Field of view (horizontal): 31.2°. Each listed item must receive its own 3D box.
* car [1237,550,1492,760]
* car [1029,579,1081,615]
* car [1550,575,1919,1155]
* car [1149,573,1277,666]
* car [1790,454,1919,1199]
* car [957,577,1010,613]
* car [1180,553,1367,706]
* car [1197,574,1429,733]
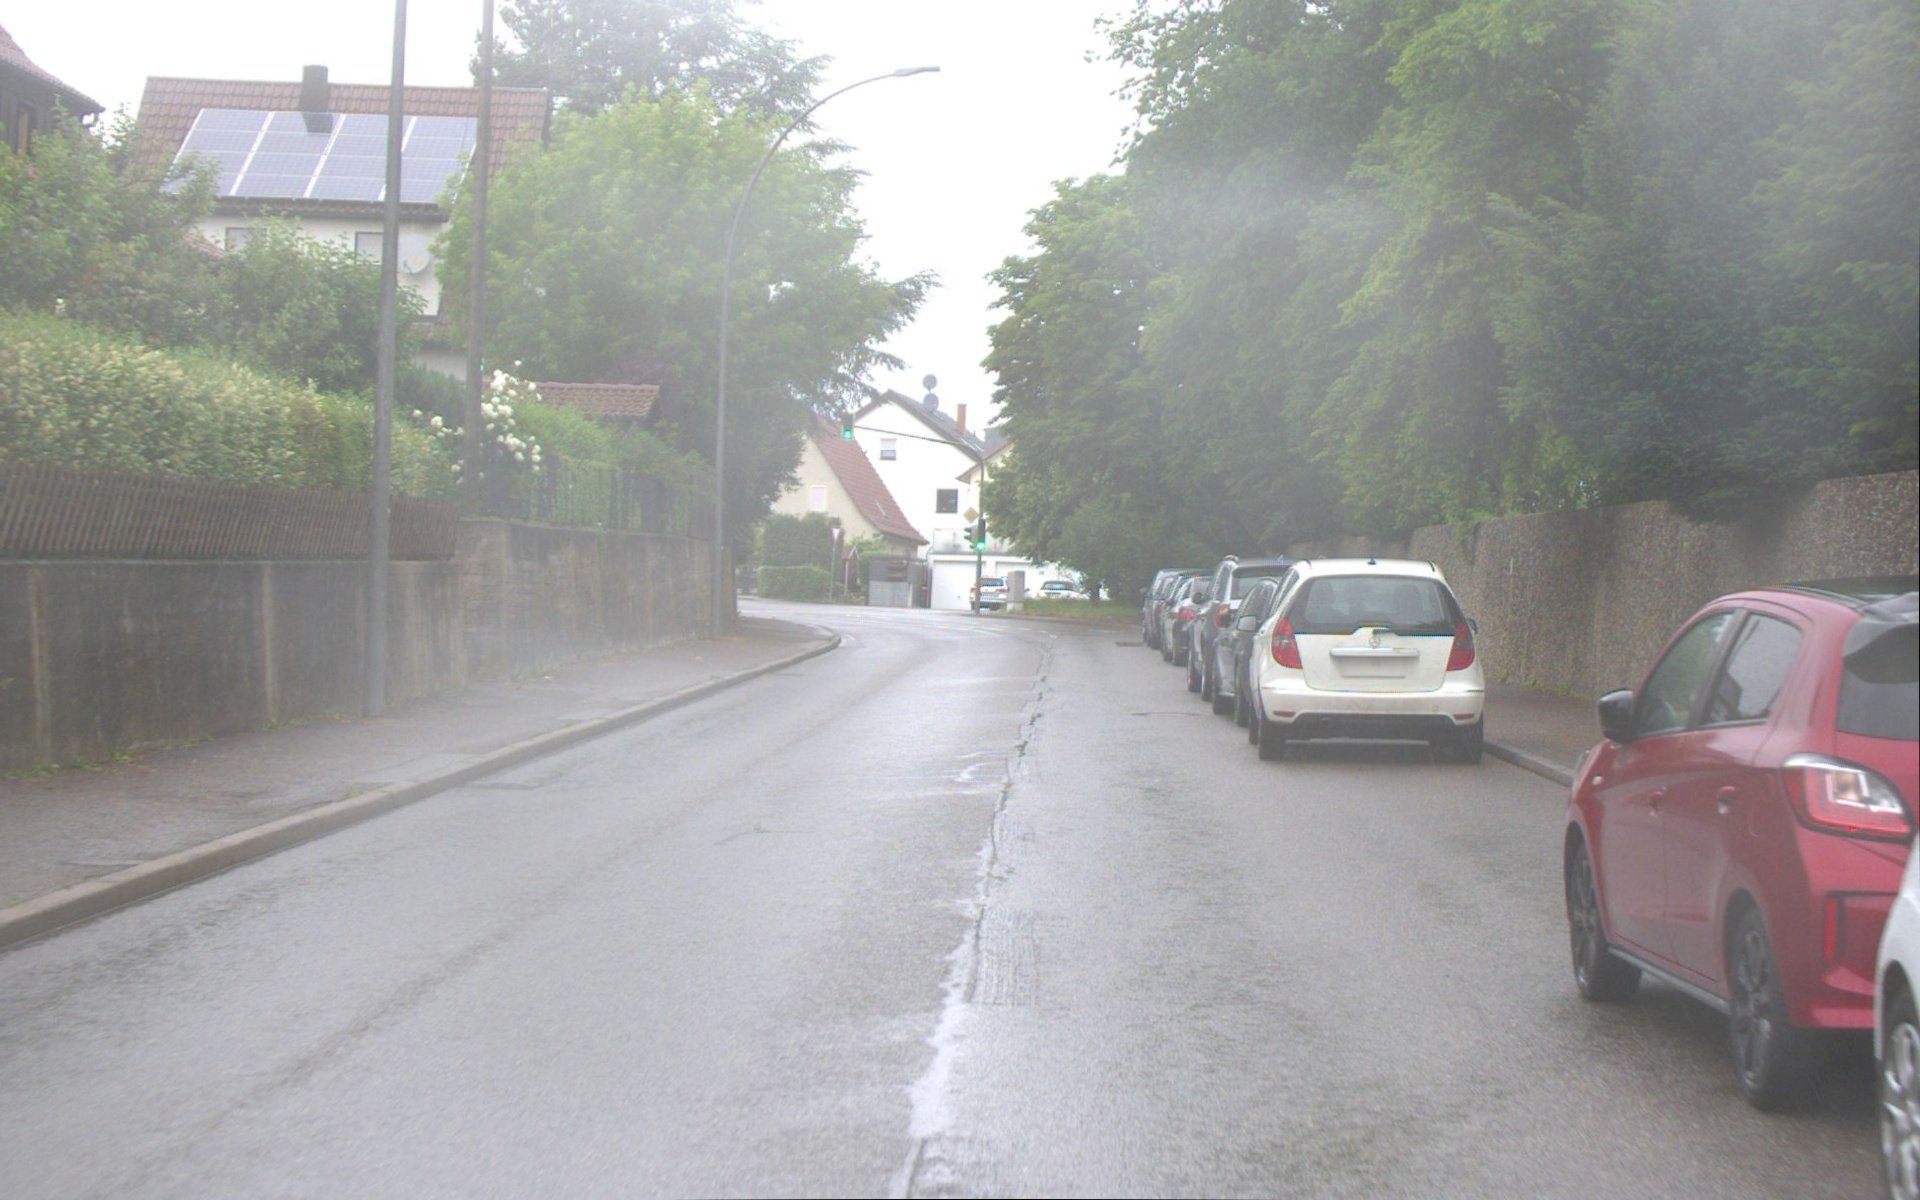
[{"bbox_3d":[3.252,0.423,28.276,1.815,1.568,3.880,1,0,3],"label":"car"},{"bbox_3d":[4.007,-0.121,144.660,1.907,1.437,3.999,1,1,5],"label":"car"},{"bbox_3d":[2.970,0.671,10.702,1.584,1.450,3.664,0,1,-1],"label":"car"},{"bbox_3d":[3.964,0.278,54.335,1.651,1.367,4.181,1,0,0],"label":"car"},{"bbox_3d":[2.784,0.586,6.258,1.637,1.735,4.135,2,0,2],"label":"car"},{"bbox_3d":[1.007,-0.215,145.214,1.907,1.437,3.999,1,1,5],"label":"car"},{"bbox_3d":[3.642,0.330,40.629,1.742,1.662,4.497,1,0,0],"label":"car"},{"bbox_3d":[3.448,0.503,34.356,1.764,1.442,4.696,1,0,-1],"label":"car"}]
